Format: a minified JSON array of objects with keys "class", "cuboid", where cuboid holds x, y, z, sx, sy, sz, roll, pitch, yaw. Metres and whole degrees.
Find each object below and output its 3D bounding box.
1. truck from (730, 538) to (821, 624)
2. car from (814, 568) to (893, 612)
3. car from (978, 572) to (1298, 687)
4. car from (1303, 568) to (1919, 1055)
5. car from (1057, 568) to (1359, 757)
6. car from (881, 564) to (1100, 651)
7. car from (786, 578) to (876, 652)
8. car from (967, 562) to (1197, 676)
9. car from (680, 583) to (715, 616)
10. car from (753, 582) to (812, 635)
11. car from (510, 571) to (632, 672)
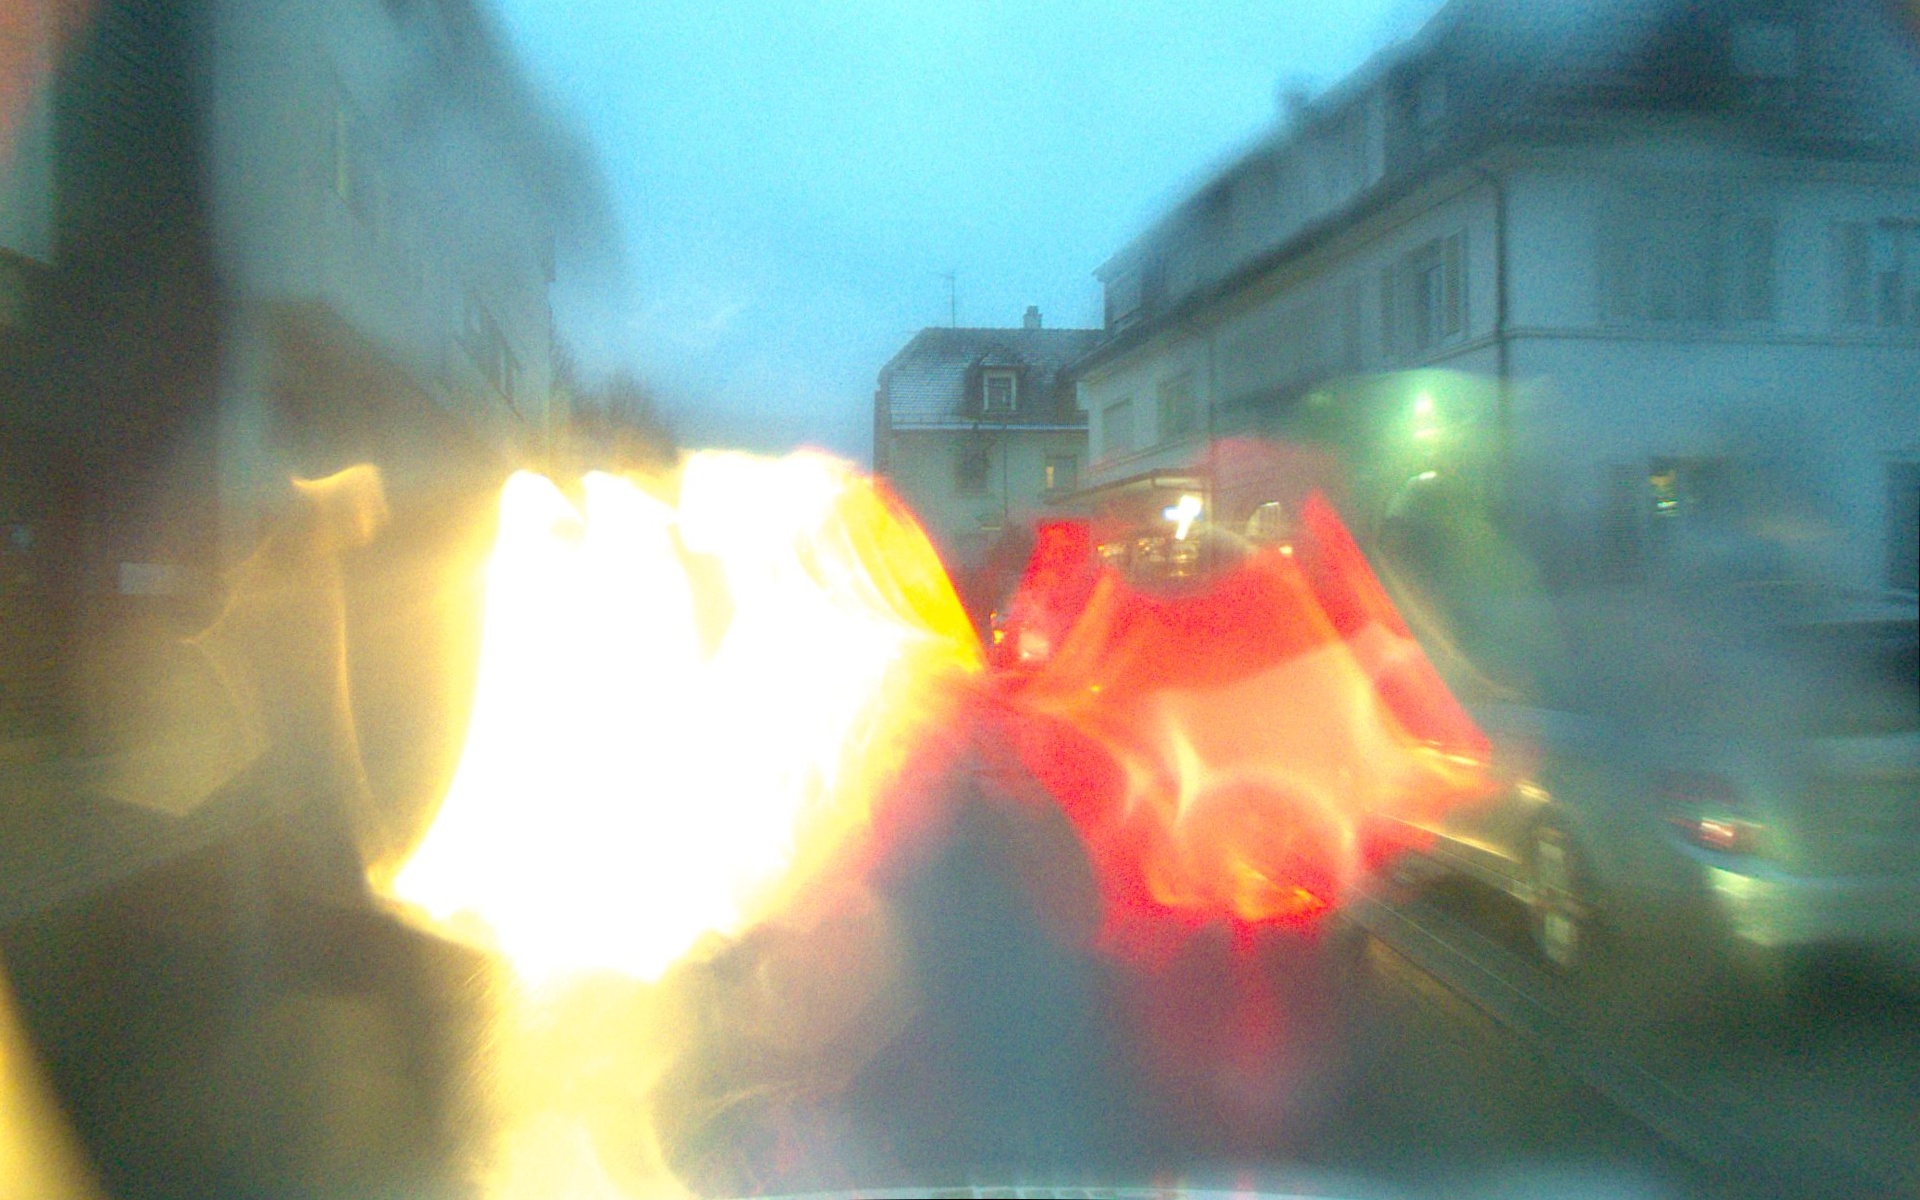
[{"class":"truck","cuboid":[-7.485,-0.751,66.260,2.961,3.183,7.979,1,0,-11]},{"class":"car","cuboid":[-5.506,-0.518,86.067,4.014,2.200,1.913,0,1,-2]},{"class":"car","cuboid":[2.610,0.398,24.706,4.385,1.499,1.894,-2,1,-10]},{"class":"car","cuboid":[3.047,0.635,7.504,1.759,1.486,4.527,-2,1,-4]},{"class":"car","cuboid":[2.269,0.499,16.490,1.846,1.574,4.665,-1,1,-6]},{"class":"car","cuboid":[0.650,0.135,36.691,4.524,1.806,1.939,-1,1,-13]},{"class":"car","cuboid":[-2.833,0.306,35.767,1.608,1.507,3.371,1,0,-10]},{"class":"car","cuboid":[2.007,0.282,27.535,3.445,1.710,1.710,-2,1,-14]},{"class":"car","cuboid":[-12.789,-0.018,80.622,1.607,1.562,3.400,1,0,-8]},{"class":"car","cuboid":[-5.351,0.241,49.629,1.607,1.507,3.265,1,1,-8]},{"class":"car","cuboid":[-6.858,0.329,29.471,1.761,1.671,3.805,1,1,-9]}]
